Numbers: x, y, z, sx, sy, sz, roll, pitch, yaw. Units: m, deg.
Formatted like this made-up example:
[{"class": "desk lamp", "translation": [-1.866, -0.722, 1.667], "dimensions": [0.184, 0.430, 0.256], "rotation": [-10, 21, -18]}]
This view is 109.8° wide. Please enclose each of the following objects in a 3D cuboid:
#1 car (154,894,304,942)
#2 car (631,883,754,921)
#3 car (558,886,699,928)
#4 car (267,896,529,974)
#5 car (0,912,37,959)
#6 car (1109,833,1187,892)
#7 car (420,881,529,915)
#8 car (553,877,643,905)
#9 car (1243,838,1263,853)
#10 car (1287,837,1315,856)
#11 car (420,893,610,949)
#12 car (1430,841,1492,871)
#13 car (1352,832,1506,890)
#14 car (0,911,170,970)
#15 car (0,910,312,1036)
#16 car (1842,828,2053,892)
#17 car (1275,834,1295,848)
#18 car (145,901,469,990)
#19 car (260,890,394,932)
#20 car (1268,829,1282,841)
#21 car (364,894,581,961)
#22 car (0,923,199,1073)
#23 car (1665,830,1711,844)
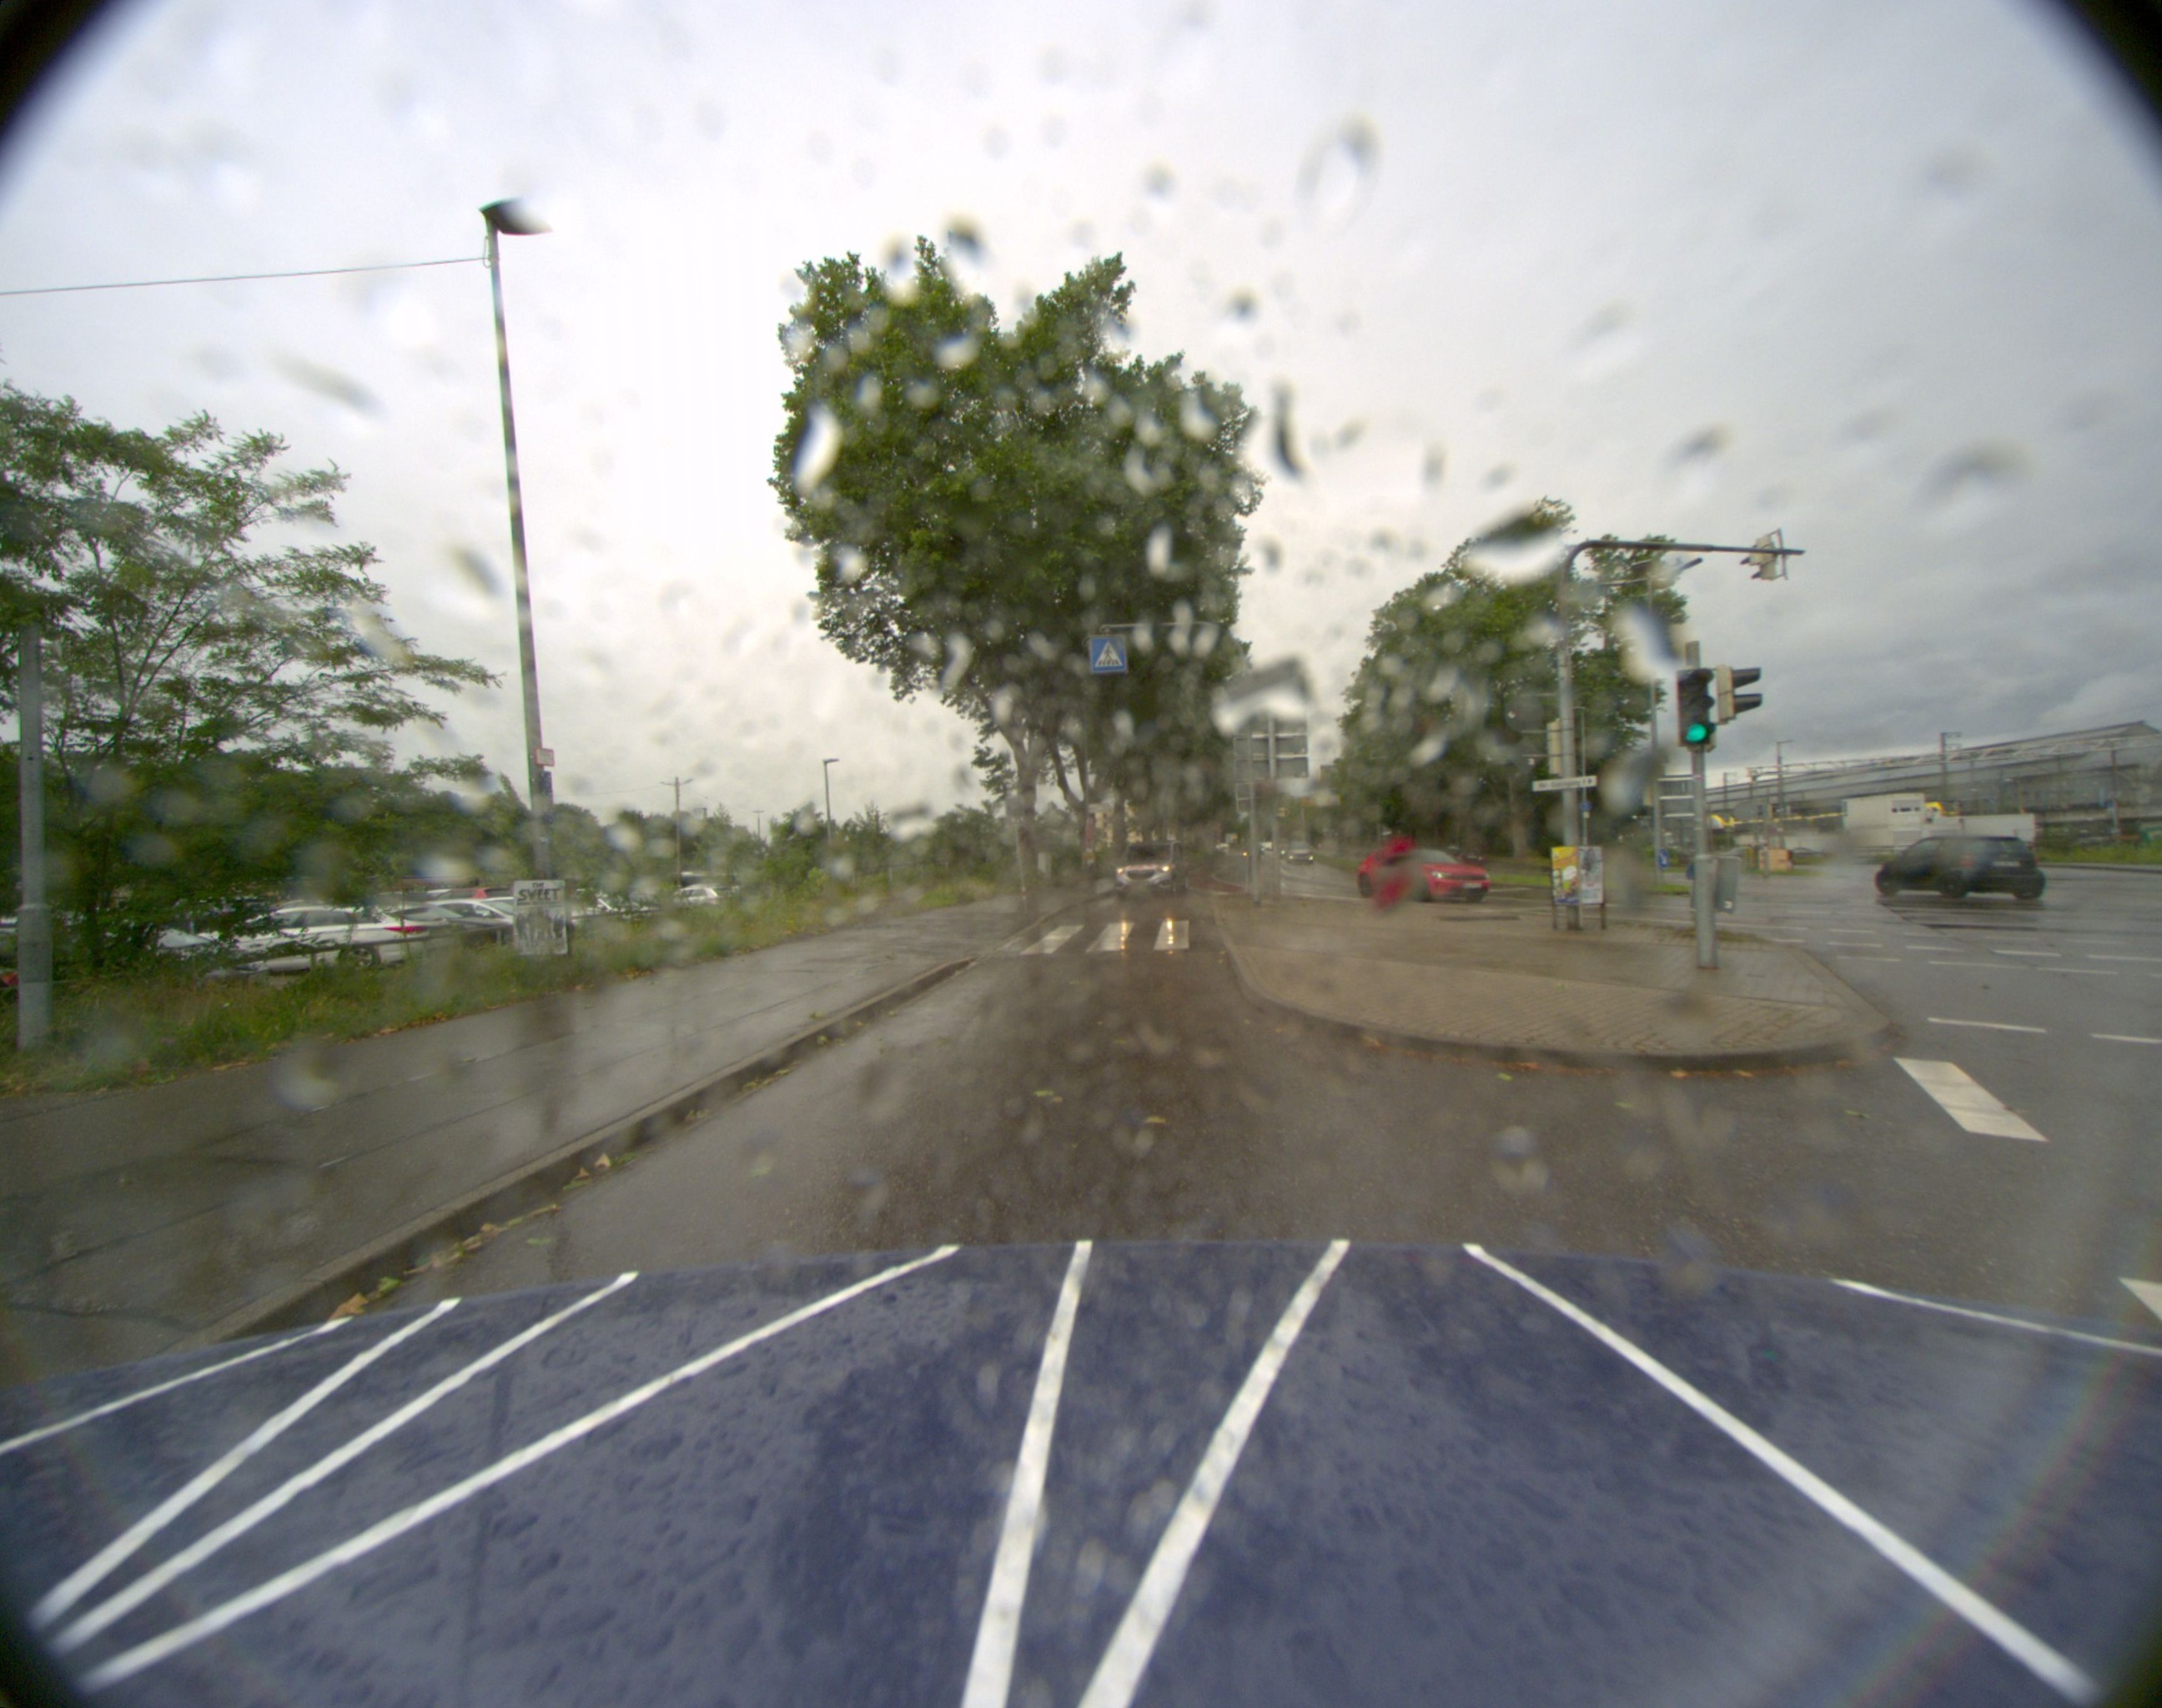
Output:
[{"class": "car", "translation": [-29.424, 2.195, 26.275], "dimensions": [3.992, 1.429, 1.820], "rotation": [-2, 1, 16]}, {"class": "car", "translation": [-17.032, 2.082, 33.450], "dimensions": [4.394, 1.422, 1.875], "rotation": [-2, 1, -3]}, {"class": "car", "translation": [-18.425, 2.146, 31.114], "dimensions": [4.544, 1.422, 1.875], "rotation": [-2, 1, -3]}, {"class": "car", "translation": [-17.060, 1.978, 19.255], "dimensions": [4.548, 1.550, 1.874], "rotation": [-2, 1, -13]}, {"class": "car", "translation": [-37.488, 2.810, 24.468], "dimensions": [1.855, 1.499, 4.107], "rotation": [-2, 0, 14]}, {"class": "car", "translation": [2.282, 0.232, 24.857], "dimensions": [1.836, 1.714, 4.176], "rotation": [-2, 1, 14]}, {"class": "car", "translation": [-27.522, 2.004, 34.492], "dimensions": [3.992, 1.368, 1.820], "rotation": [-2, 1, 16]}, {"class": "car", "translation": [-25.946, 1.984, 40.821], "dimensions": [3.992, 1.368, 1.820], "rotation": [-2, 1, 16]}, {"class": "car", "translation": [16.699, -0.815, 73.584], "dimensions": [1.741, 1.437, 4.004], "rotation": [-1, 0, 14]}, {"class": "car", "translation": [16.714, -0.543, 57.766], "dimensions": [1.742, 1.373, 4.004], "rotation": [-1, 0, 12]}, {"class": "car", "translation": [-18.468, 2.155, 25.009], "dimensions": [4.546, 1.457, 2.002], "rotation": [-2, 1, -8]}, {"class": "car", "translation": [22.317, 0.076, 44.784], "dimensions": [1.997, 1.632, 4.002], "rotation": [-2, 0, 6]}, {"class": "car", "translation": [9.178, 0.174, 20.425], "dimensions": [1.745, 1.373, 3.996], "rotation": [-1, 0, -11]}, {"class": "car", "translation": [-29.779, 2.540, 22.569], "dimensions": [3.992, 1.465, 1.963], "rotation": [-2, 1, 16]}, {"class": "car", "translation": [-14.880, 1.764, 11.580], "dimensions": [4.002, 1.514, 1.874], "rotation": [-2, 1, -14]}, {"class": "car", "translation": [21.395, 0.195, 18.993], "dimensions": [1.647, 1.443, 3.535], "rotation": [-1, -2, 12]}, {"class": "car", "translation": [19.890, -1.268, 74.237], "dimensions": [1.642, 1.346, 3.778], "rotation": [-2, 0, 12]}, {"class": "car", "translation": [-16.659, 1.927, 16.663], "dimensions": [4.648, 1.475, 1.874], "rotation": [-2, 1, -13]}, {"class": "car", "translation": [-28.601, 2.146, 28.840], "dimensions": [3.992, 1.429, 1.820], "rotation": [-2, 1, 16]}, {"class": "car", "translation": [26.317, -2.570, 103.157], "dimensions": [1.851, 1.593, 4.505], "rotation": [-1, 0, 14]}, {"class": "car", "translation": [-17.655, 2.108, 22.297], "dimensions": [4.548, 1.550, 1.874], "rotation": [-2, 1, -13]}, {"class": "car", "translation": [-13.830, 1.753, 9.002], "dimensions": [4.002, 1.494, 1.874], "rotation": [-2, 1, -14]}, {"class": "car", "translation": [74.922, -2.100, 93.856], "dimensions": [3.993, 1.599, 1.788], "rotation": [-2, 0, 13]}]
